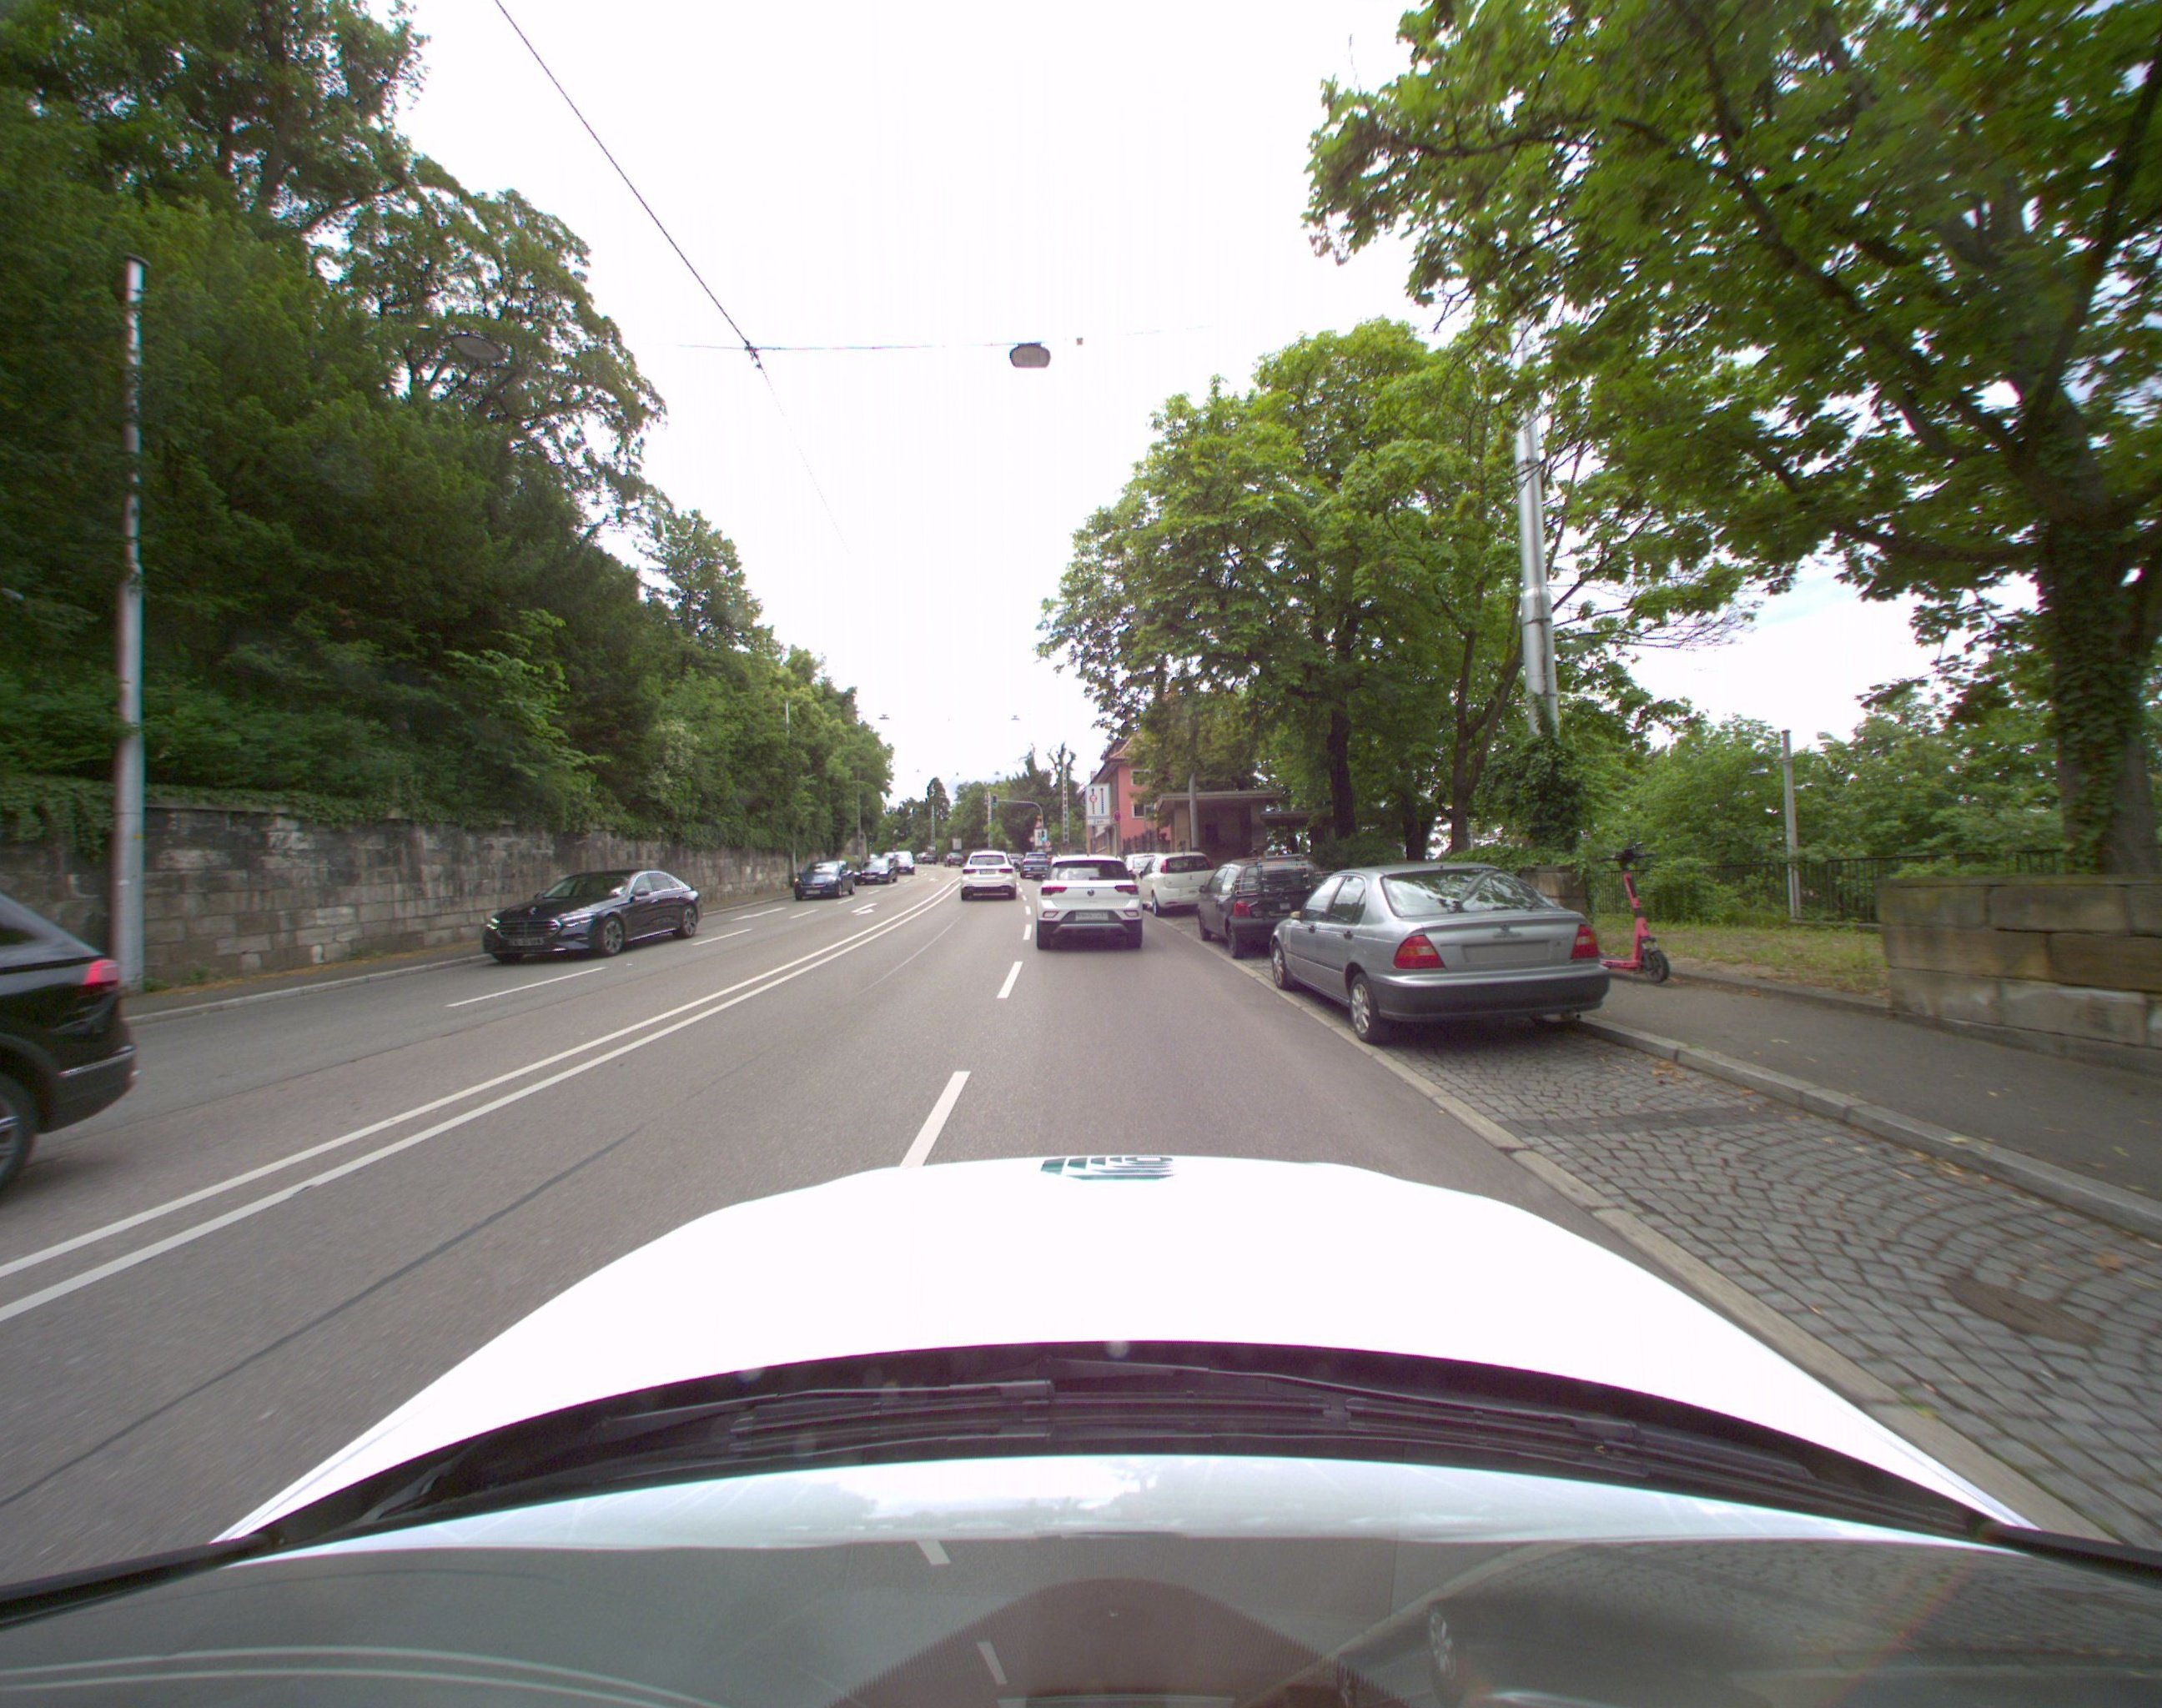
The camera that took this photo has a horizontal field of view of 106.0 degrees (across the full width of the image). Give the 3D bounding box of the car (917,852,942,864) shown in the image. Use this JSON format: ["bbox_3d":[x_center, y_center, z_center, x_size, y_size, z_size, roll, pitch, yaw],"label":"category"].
[{"bbox_3d":[-21.229,0.537,113.881,2.007,1.575,4.108,-1,-1,-32],"label":"car"}]

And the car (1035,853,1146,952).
[{"bbox_3d":[0.061,0.789,14.811,1.754,1.556,3.791,0,-1,-3],"label":"car"}]

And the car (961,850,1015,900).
[{"bbox_3d":[-3.210,0.715,28.654,1.754,1.609,3.789,0,-1,-5],"label":"car"}]

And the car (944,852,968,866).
[{"bbox_3d":[-13.167,0.547,85.486,1.786,1.454,3.973,0,-1,-20],"label":"car"}]

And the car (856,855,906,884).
[{"bbox_3d":[-10.998,0.818,45.115,1.839,1.409,4.450,-3,0,-3],"label":"car"}]

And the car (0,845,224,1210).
[{"bbox_3d":[-5.843,0.815,2.318,1.842,1.651,4.623,-3,-1,0],"label":"car"}]

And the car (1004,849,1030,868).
[{"bbox_3d":[-5.208,0.387,66.782,1.989,1.450,4.145,-1,-1,-4],"label":"car"}]

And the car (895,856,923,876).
[{"bbox_3d":[-13.331,0.904,63.157,1.560,1.402,4.245,-3,0,-5],"label":"car"}]

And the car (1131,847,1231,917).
[{"bbox_3d":[2.440,0.627,20.875,1.712,1.471,4.032,-5,1,-4],"label":"car"}]

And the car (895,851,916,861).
[{"bbox_3d":[-27.294,0.282,126.469,2.006,1.450,4.110,-1,-1,-31],"label":"car"}]

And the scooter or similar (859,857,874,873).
[{"bbox_3d":[-17.542,0.896,66.665,0.429,1.237,1.105,2,-2,35],"label":"scooter or similar"}]

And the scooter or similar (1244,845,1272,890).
[{"bbox_3d":[5.290,0.390,24.347,0.515,1.260,1.168,-4,0,0],"label":"scooter or similar"}]

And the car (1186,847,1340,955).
[{"bbox_3d":[2.839,0.678,13.384,1.557,1.422,3.421,-4,0,-2],"label":"car"}]

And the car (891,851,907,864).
[{"bbox_3d":[-24.346,0.442,109.080,1.849,1.632,4.347,-1,0,-9],"label":"car"}]

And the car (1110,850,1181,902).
[{"bbox_3d":[2.005,0.655,26.454,1.672,1.461,4.360,-3,0,-3],"label":"car"}]

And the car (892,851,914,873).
[{"bbox_3d":[-16.968,0.790,77.727,1.893,1.848,4.379,0,-3,-11],"label":"car"}]

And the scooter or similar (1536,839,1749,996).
[{"bbox_3d":[5.233,0.535,7.779,0.559,1.244,2.000,-7,-1,1],"label":"scooter or similar"}]

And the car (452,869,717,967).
[{"bbox_3d":[-8.911,1.057,15.252,1.996,1.409,4.754,-2,0,0],"label":"car"}]

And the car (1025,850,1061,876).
[{"bbox_3d":[-2.230,0.528,48.661,1.988,1.414,4.147,-2,-1,-2],"label":"car"}]

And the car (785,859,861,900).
[{"bbox_3d":[-10.007,0.948,31.897,1.838,1.436,3.996,-2,0,-3],"label":"car"}]

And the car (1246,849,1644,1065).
[{"bbox_3d":[2.974,0.722,7.893,1.764,1.399,4.550,-3,0,0],"label":"car"}]
